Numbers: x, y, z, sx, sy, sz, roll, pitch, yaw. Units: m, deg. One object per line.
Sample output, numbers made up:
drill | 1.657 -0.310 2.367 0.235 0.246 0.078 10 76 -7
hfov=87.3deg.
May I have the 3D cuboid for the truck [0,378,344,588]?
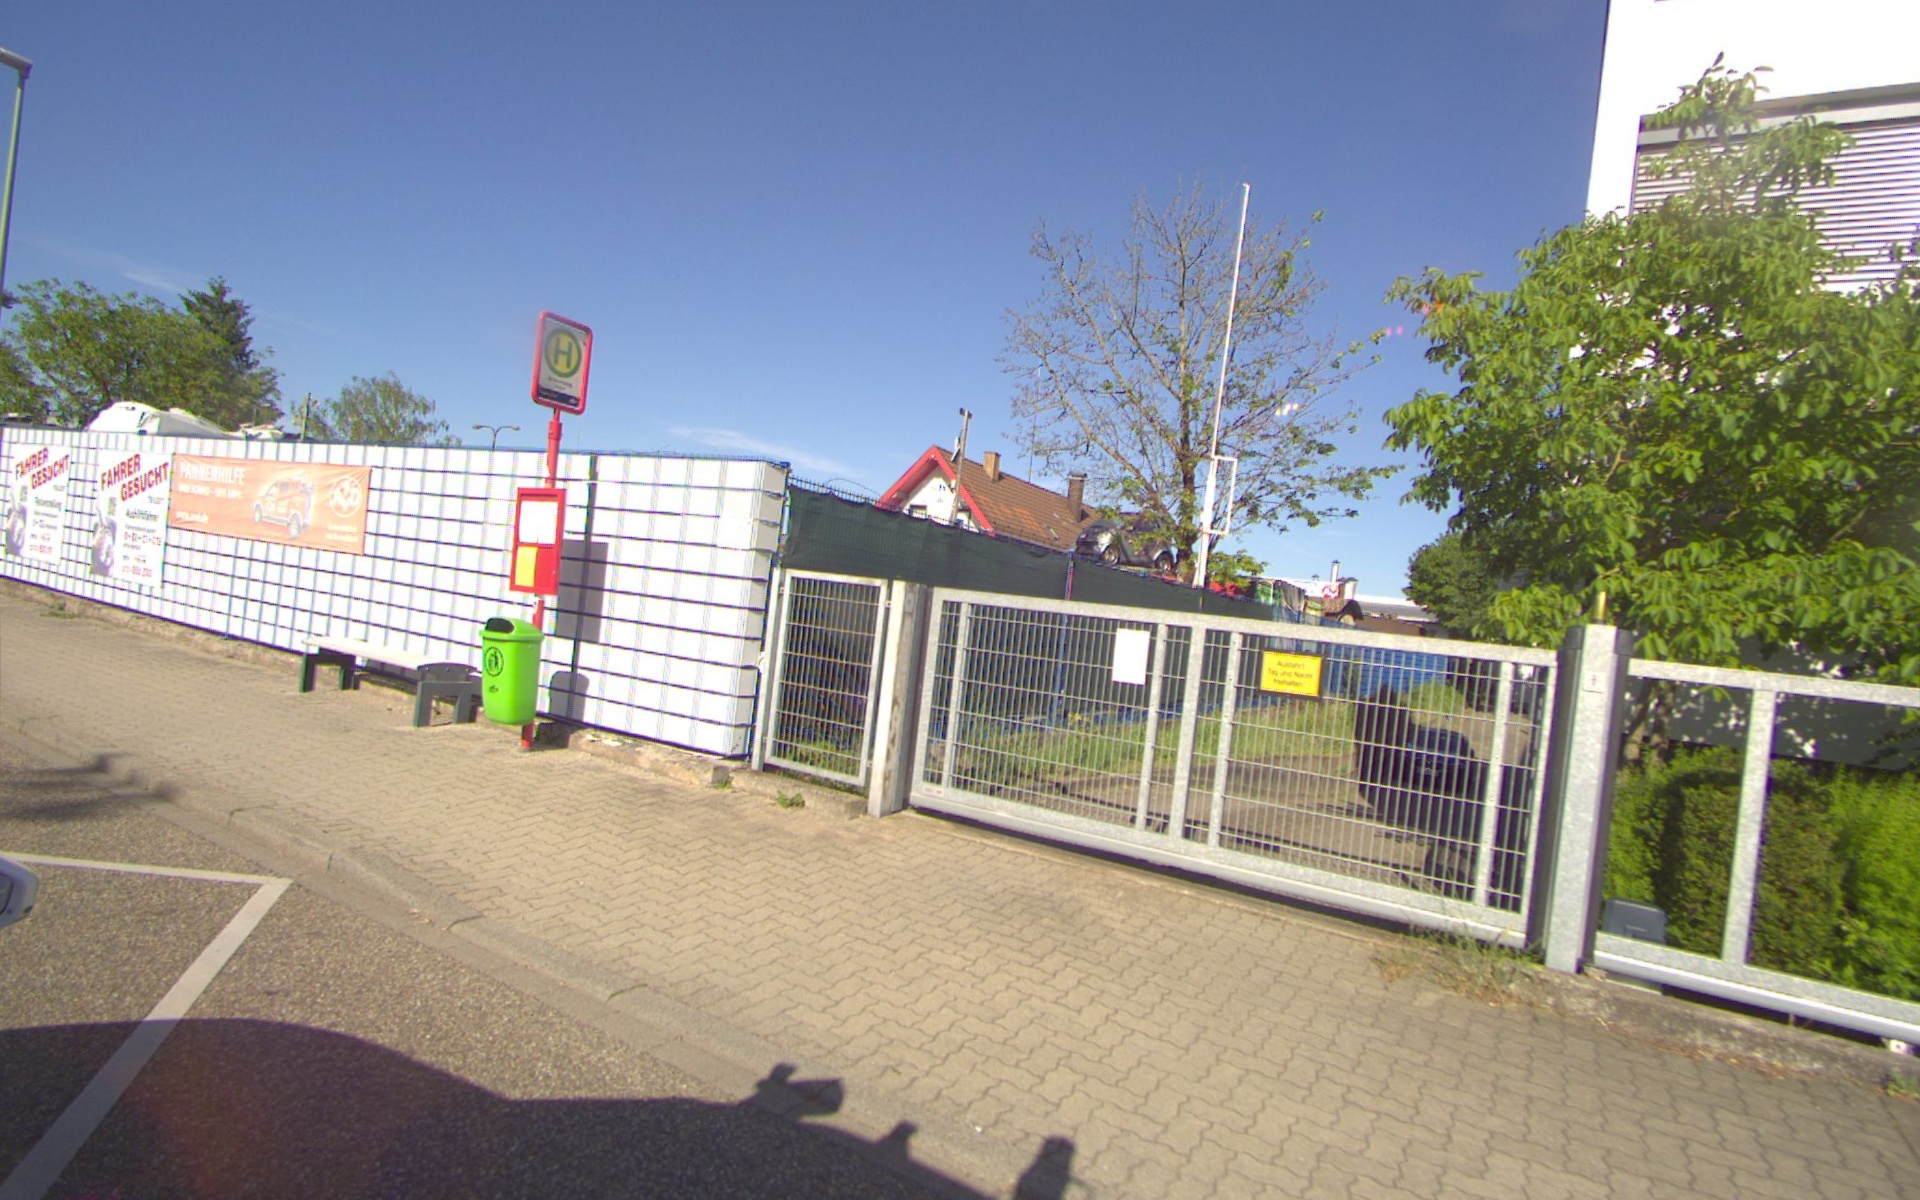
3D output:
truck | -19.807 -2.603 24.650 2.783 3.816 7.391 7 -1 27
